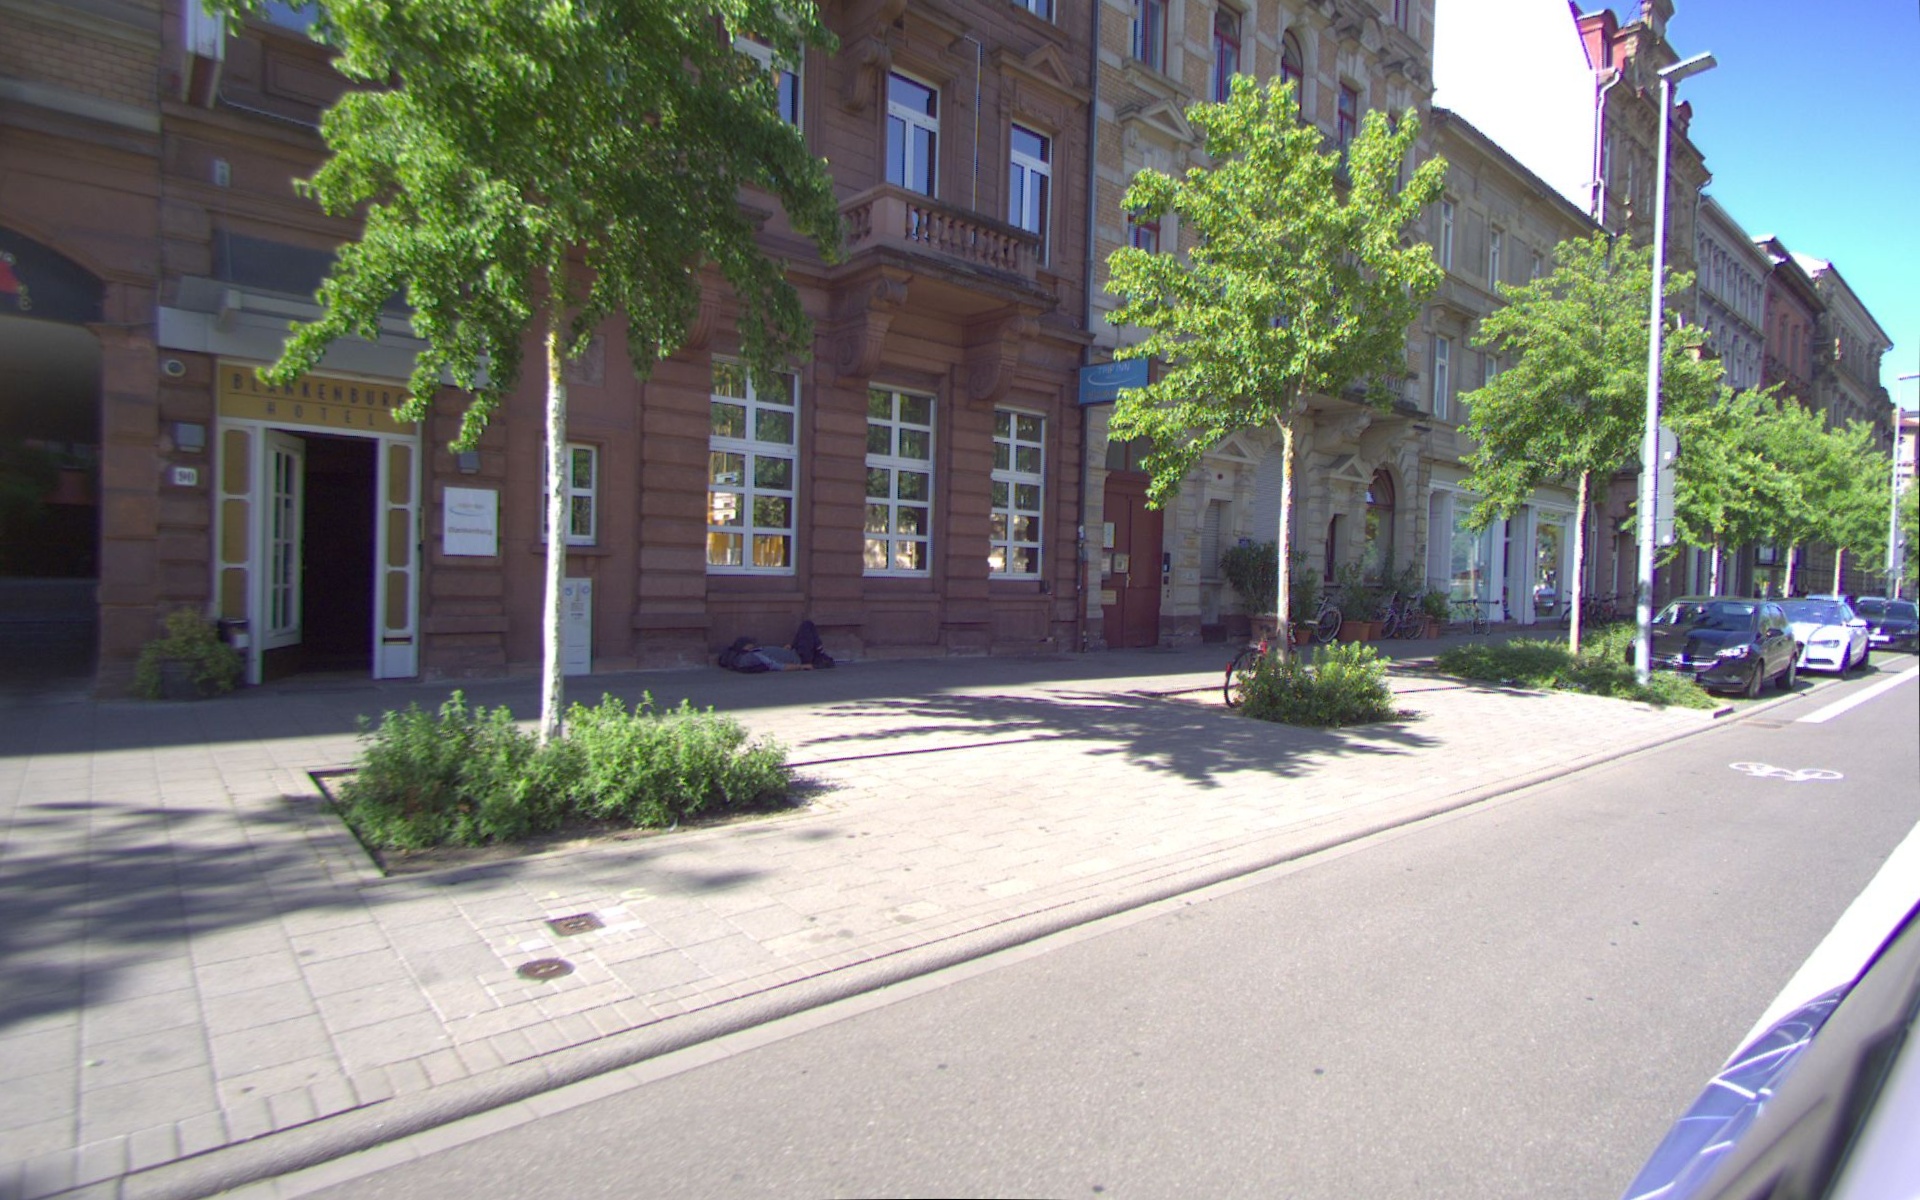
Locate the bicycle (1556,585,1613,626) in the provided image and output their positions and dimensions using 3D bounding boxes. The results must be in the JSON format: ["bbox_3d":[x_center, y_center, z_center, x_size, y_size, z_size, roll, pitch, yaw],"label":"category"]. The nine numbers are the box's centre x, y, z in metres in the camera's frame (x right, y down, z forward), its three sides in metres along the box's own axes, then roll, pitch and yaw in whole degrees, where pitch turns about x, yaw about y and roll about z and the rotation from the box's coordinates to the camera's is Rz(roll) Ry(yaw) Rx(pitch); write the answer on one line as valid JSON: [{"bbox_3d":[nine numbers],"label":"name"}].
[{"bbox_3d":[18.616,0.152,30.170,2.146,1.118,0.877,0,5,-44],"label":"bicycle"}]

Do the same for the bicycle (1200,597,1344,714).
[{"bbox_3d":[3.578,0.572,11.487,0.650,1.133,2.139,4,4,43],"label":"bicycle"}]

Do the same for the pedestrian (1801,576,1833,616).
[{"bbox_3d":[42.980,-0.222,50.754,1.077,1.943,0.893,0,4,-36],"label":"pedestrian"}]

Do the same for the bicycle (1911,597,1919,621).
[{"bbox_3d":[45.382,0.460,46.918,1.815,1.068,0.563,5,4,44],"label":"bicycle"}]

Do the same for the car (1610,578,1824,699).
[{"bbox_3d":[12.230,0.493,16.266,4.148,1.588,1.888,-1,5,-42],"label":"car"}]

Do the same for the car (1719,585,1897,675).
[{"bbox_3d":[17.284,0.512,20.540,5.016,1.513,1.956,0,4,-41],"label":"car"}]

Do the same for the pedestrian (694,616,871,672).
[{"bbox_3d":[-2.089,0.498,12.112,1.972,0.560,0.774,0,2,-42],"label":"pedestrian"}]

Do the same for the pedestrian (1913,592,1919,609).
[{"bbox_3d":[68.159,0.027,71.772,0.866,1.197,0.719,-1,3,-42],"label":"pedestrian"}]

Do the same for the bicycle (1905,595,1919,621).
[{"bbox_3d":[43.353,0.440,44.848,2.045,1.120,0.601,7,5,44],"label":"bicycle"}]

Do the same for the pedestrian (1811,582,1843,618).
[{"bbox_3d":[41.686,-0.013,48.642,0.975,1.659,0.973,1,2,-41],"label":"pedestrian"}]

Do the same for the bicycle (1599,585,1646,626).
[{"bbox_3d":[20.985,0.144,32.034,1.770,1.215,0.749,-1,4,-42],"label":"bicycle"}]

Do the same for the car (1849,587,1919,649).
[{"bbox_3d":[26.703,0.474,28.735,4.375,1.494,1.768,-1,5,-44],"label":"car"}]

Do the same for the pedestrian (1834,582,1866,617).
[{"bbox_3d":[42.854,-0.017,48.731,1.061,1.586,0.952,1,2,-42],"label":"pedestrian"}]

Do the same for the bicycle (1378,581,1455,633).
[{"bbox_3d":[10.385,0.149,22.963,2.160,1.103,0.722,0,3,-41],"label":"bicycle"}]

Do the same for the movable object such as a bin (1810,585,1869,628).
[{"bbox_3d":[34.130,0.225,39.275,1.718,1.513,1.377,-1,5,-40],"label":"movable object such as a bin"}]

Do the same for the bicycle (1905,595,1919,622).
[{"bbox_3d":[43.057,0.449,44.578,1.976,1.137,0.474,8,5,44],"label":"bicycle"}]

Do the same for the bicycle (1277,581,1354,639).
[{"bbox_3d":[7.121,0.187,20.212,2.021,1.103,0.482,0,3,-41],"label":"bicycle"}]

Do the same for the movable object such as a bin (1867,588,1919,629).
[{"bbox_3d":[35.292,0.312,38.169,1.612,1.482,1.275,3,-1,-36],"label":"movable object such as a bin"}]

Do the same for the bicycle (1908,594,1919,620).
[{"bbox_3d":[44.182,0.408,45.517,2.142,1.168,0.424,6,4,36],"label":"bicycle"}]

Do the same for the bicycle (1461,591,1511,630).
[{"bbox_3d":[13.575,0.260,26.108,1.978,0.957,0.448,0,1,-42],"label":"bicycle"}]

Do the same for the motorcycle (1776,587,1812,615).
[{"bbox_3d":[39.890,0.047,48.402,2.930,1.282,0.867,-1,2,-42],"label":"motorcycle"}]

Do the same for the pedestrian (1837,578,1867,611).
[{"bbox_3d":[48.421,-0.324,54.913,1.094,1.712,0.972,0,4,-40],"label":"pedestrian"}]

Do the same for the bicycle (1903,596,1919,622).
[{"bbox_3d":[44.342,0.479,45.851,2.278,1.115,0.480,5,4,35],"label":"bicycle"}]

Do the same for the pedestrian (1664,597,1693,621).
[{"bbox_3d":[26.592,0.329,37.471,0.867,0.828,0.968,1,1,36],"label":"pedestrian"}]
